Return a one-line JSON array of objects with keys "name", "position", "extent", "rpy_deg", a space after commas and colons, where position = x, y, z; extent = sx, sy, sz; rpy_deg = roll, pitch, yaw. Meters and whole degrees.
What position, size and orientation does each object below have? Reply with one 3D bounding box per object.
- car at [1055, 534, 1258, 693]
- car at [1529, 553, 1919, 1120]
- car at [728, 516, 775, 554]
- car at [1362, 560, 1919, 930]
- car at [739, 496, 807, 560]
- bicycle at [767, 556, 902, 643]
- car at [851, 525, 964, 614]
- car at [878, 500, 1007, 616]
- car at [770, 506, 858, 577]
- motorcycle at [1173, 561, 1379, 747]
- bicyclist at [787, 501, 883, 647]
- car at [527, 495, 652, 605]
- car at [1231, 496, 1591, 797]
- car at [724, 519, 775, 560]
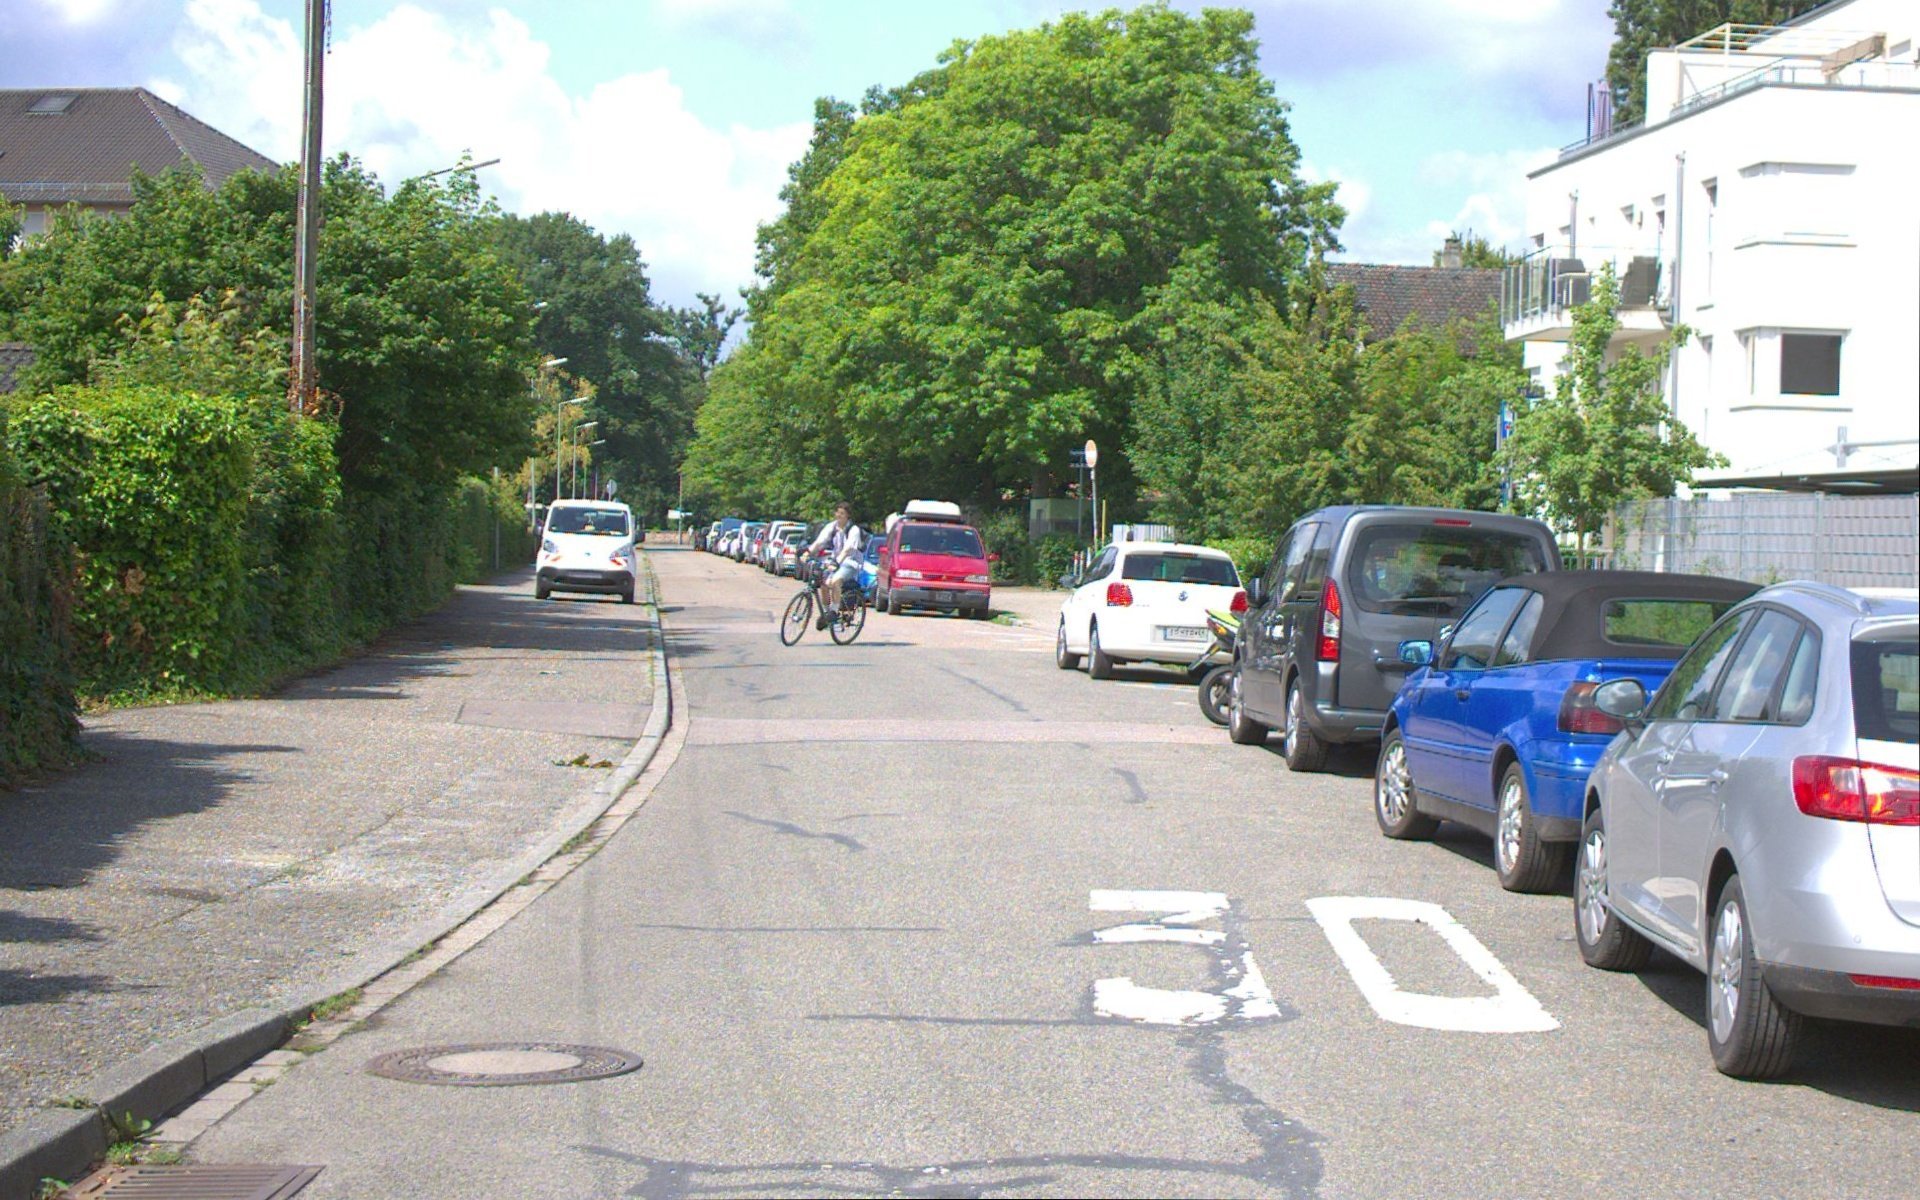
[{"name": "car", "position": [2.040, 0.097, 36.727], "extent": [1.678, 1.514, 4.001], "rpy_deg": [3, 1, -3]}, {"name": "car", "position": [2.978, 0.623, 10.800], "extent": [1.663, 1.434, 3.744], "rpy_deg": [3, 1, 0]}, {"name": "car", "position": [-9.430, -2.966, 156.000], "extent": [1.852, 1.612, 4.000], "rpy_deg": [3, 1, -1]}, {"name": "car", "position": [3.079, 0.591, 16.132], "extent": [1.663, 1.430, 3.542], "rpy_deg": [3, 1, -4]}, {"name": "car", "position": [-6.075, -2.345, 111.852], "extent": [2.058, 1.955, 4.541], "rpy_deg": [3, 1, -3]}, {"name": "bicycle", "position": [-1.567, 0.000, 43.341], "extent": [0.860, 1.023, 1.817], "rpy_deg": [4, 1, 28]}, {"name": "car", "position": [-1.103, -0.642, 69.950], "extent": [2.058, 1.646, 4.541], "rpy_deg": [3, 1, -3]}, {"name": "car", "position": [-0.353, -0.788, 62.232], "extent": [2.058, 1.919, 4.541], "rpy_deg": [3, 1, -3]}, {"name": "car", "position": [-3.678, -1.482, 86.410], "extent": [2.058, 1.646, 4.541], "rpy_deg": [3, 1, -3]}, {"name": "motorcycle", "position": [2.473, 0.415, 27.051], "extent": [1.427, 1.357, 0.869], "rpy_deg": [3, 1, -4]}, {"name": "bicyclist", "position": [-1.571, -0.323, 43.289], "extent": [0.786, 1.779, 0.893], "rpy_deg": [3, 1, 27]}, {"name": "car", "position": [-6.617, -0.904, 61.683], "extent": [1.902, 1.808, 4.001], "rpy_deg": [3, 1, -3]}, {"name": "car", "position": [2.973, 0.260, 23.341], "extent": [1.874, 1.800, 3.432], "rpy_deg": [3, 1, 0]}, {"name": "car", "position": [-8.632, -2.477, 141.193], "extent": [1.852, 1.612, 4.000], "rpy_deg": [2, 1, -1]}]
